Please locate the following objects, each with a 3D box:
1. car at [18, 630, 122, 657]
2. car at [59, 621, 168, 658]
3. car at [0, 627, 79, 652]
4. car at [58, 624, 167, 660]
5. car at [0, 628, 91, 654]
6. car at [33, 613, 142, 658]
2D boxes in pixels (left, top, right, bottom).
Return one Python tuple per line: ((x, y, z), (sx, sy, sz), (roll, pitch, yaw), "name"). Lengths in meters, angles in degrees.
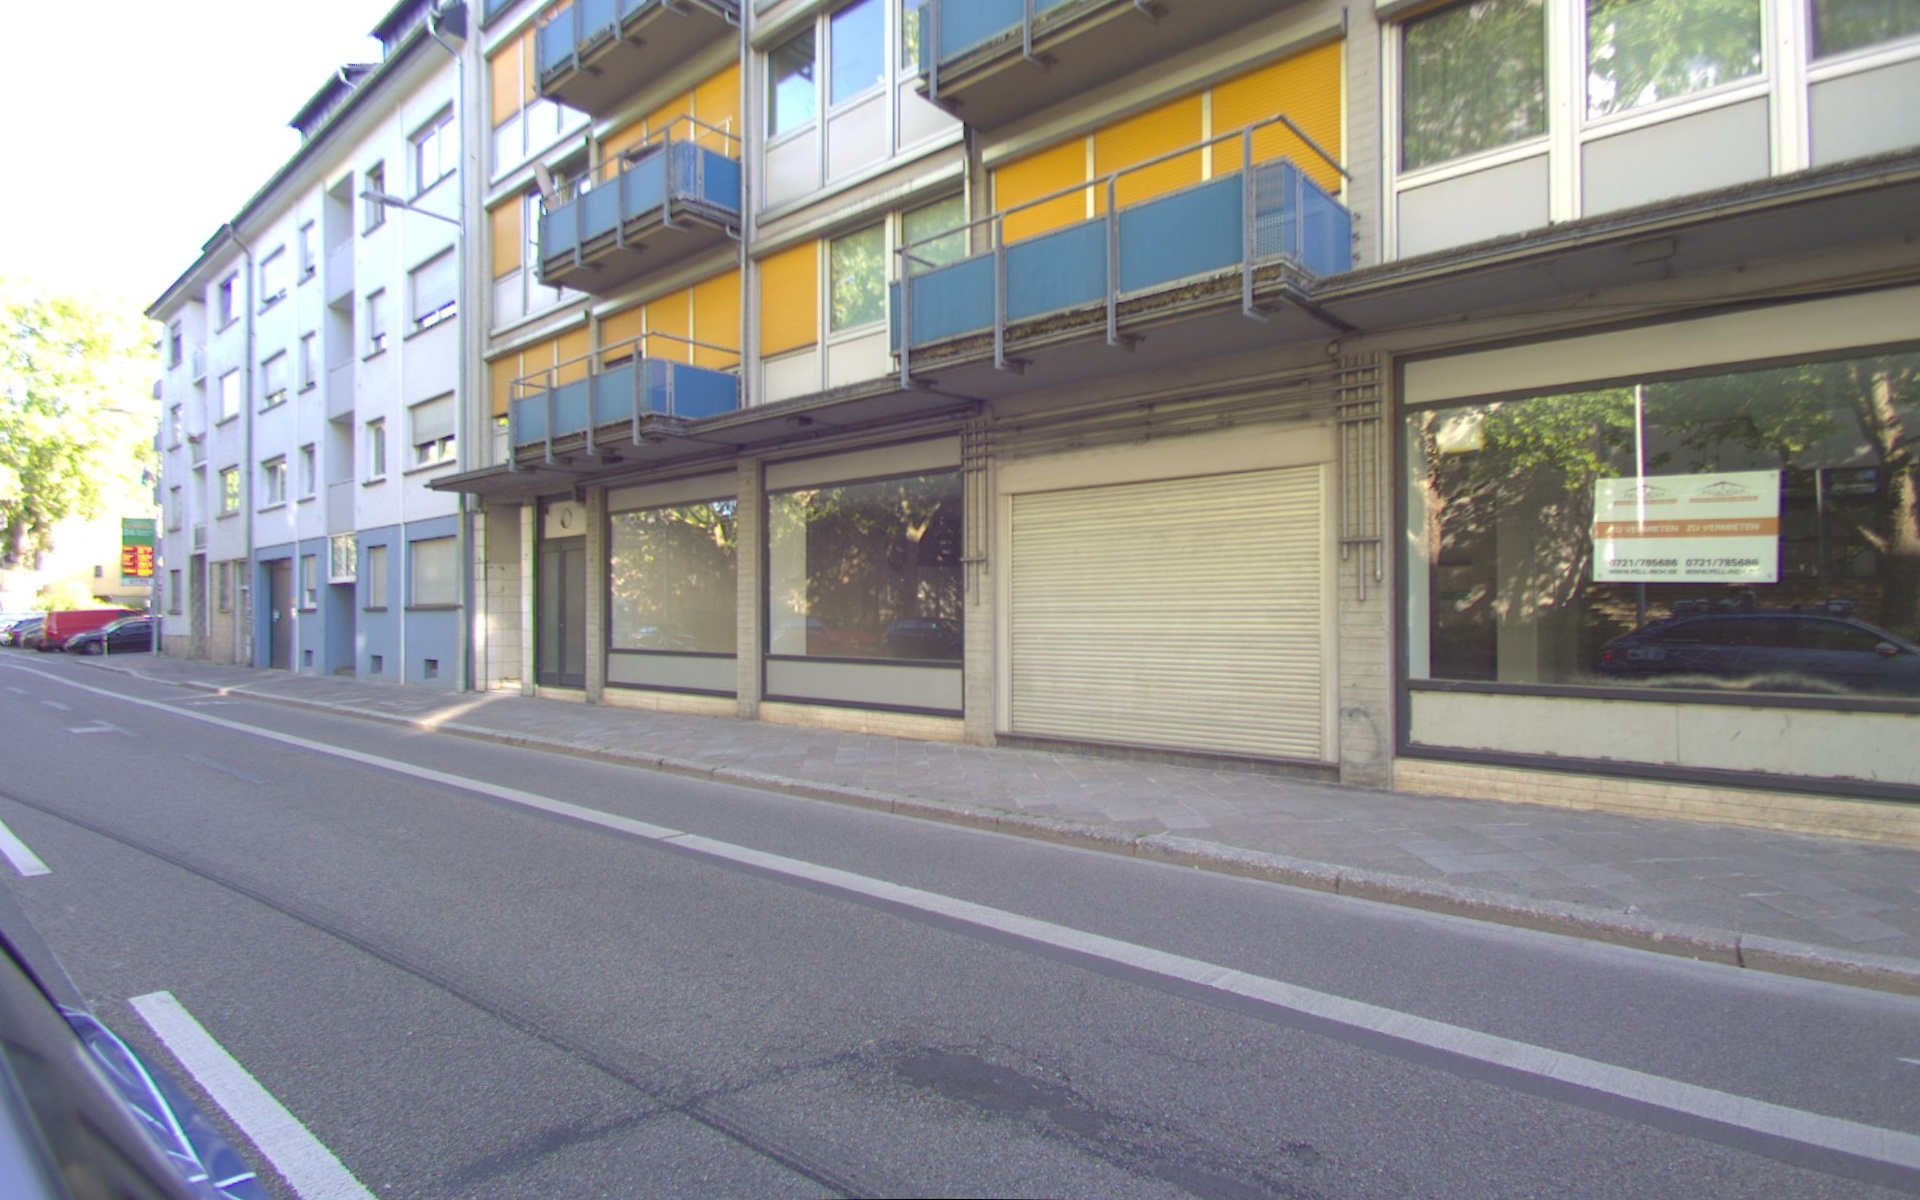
((-42.826, 2.065, 48.751), (1.345, 1.137, 3.638), (-1, 0, 43), "car")
((-38.205, 1.760, 45.737), (1.490, 1.523, 3.638), (-1, 0, 43), "car")
((-52.272, 2.240, 57.517), (1.345, 1.254, 3.228), (-1, 0, 43), "car")
((-36.688, 1.803, 43.857), (1.490, 1.398, 3.462), (-1, 0, 43), "car")
((-50.458, 2.233, 55.888), (1.345, 1.254, 3.638), (-1, 0, 43), "car")
((-40.664, 1.640, 47.236), (1.488, 1.923, 3.642), (-4, -2, 39), "car")
